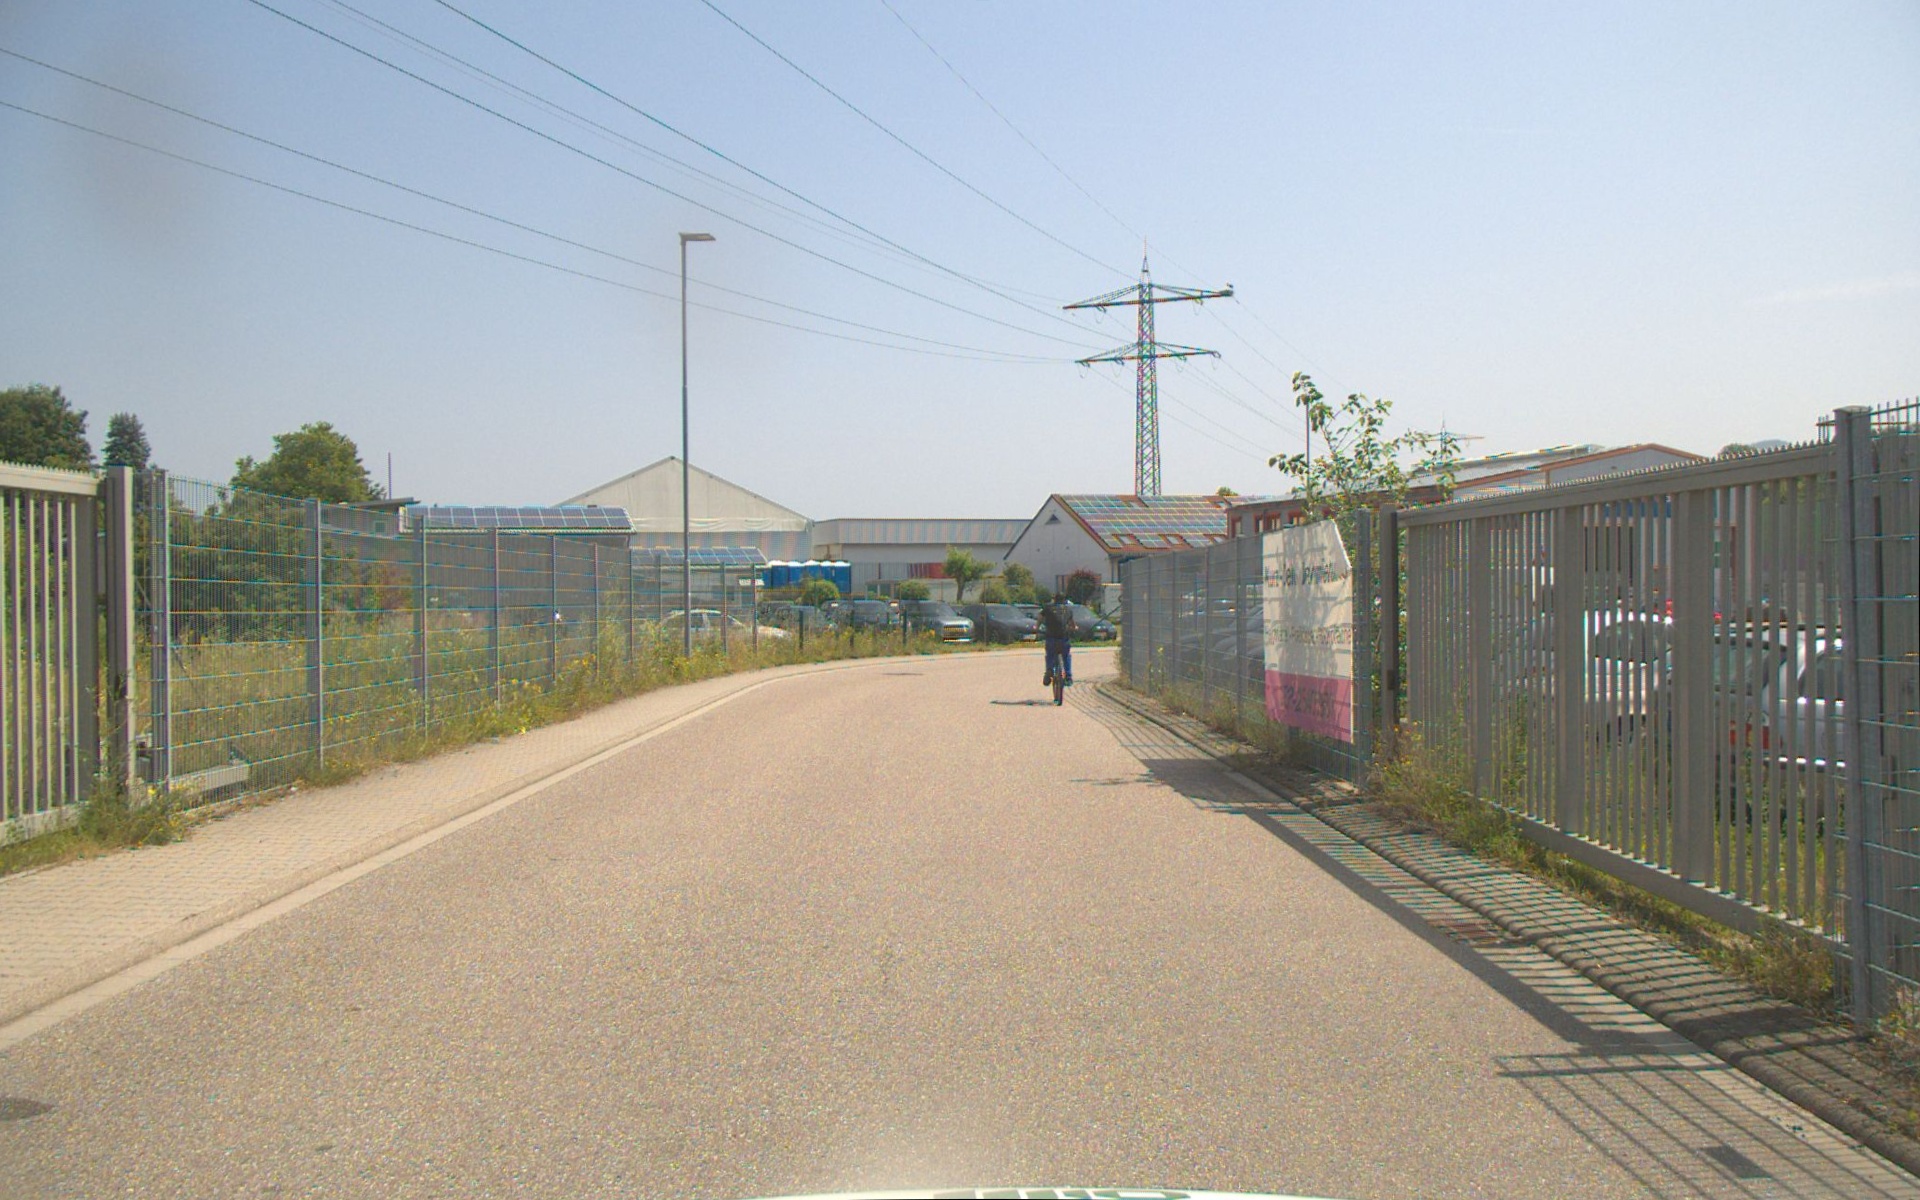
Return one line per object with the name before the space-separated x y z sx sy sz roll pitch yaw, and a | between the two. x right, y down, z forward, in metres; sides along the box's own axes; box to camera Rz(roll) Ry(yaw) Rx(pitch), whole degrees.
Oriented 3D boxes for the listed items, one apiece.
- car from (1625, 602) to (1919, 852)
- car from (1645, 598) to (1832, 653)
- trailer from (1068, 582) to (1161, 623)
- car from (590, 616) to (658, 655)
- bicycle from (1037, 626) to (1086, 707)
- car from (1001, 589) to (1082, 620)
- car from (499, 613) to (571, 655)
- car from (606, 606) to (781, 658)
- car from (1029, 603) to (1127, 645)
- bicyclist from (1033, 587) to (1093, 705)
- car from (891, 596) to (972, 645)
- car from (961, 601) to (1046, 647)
car | 6.859 0.849 11.148 4.082 1.500 1.636 2 0 -5
car | 19.601 0.609 41.763 1.890 1.300 3.870 0 0 -41
trailer | 7.731 0.109 82.973 4.361 1.979 1.712 -1 0 -5
car | -12.262 1.268 60.224 1.836 1.321 3.418 0 0 -22
bicycle | 1.465 0.943 24.006 0.670 1.070 1.901 1 0 3
car | 4.329 0.231 87.746 3.926 1.626 1.867 0 0 -19
car | -15.385 1.194 59.794 1.840 1.439 3.410 0 0 -27
car | -7.287 0.841 45.118 4.480 1.330 1.858 0 0 -20
car | 4.325 0.865 61.469 1.966 1.460 4.638 0 0 -20
bicyclist | 1.485 0.648 23.969 0.825 1.647 1.040 1 0 3
car | -1.046 0.706 59.187 1.835 1.672 3.613 0 0 -20
car | 1.538 0.853 59.665 1.835 1.581 3.748 0 0 -20
